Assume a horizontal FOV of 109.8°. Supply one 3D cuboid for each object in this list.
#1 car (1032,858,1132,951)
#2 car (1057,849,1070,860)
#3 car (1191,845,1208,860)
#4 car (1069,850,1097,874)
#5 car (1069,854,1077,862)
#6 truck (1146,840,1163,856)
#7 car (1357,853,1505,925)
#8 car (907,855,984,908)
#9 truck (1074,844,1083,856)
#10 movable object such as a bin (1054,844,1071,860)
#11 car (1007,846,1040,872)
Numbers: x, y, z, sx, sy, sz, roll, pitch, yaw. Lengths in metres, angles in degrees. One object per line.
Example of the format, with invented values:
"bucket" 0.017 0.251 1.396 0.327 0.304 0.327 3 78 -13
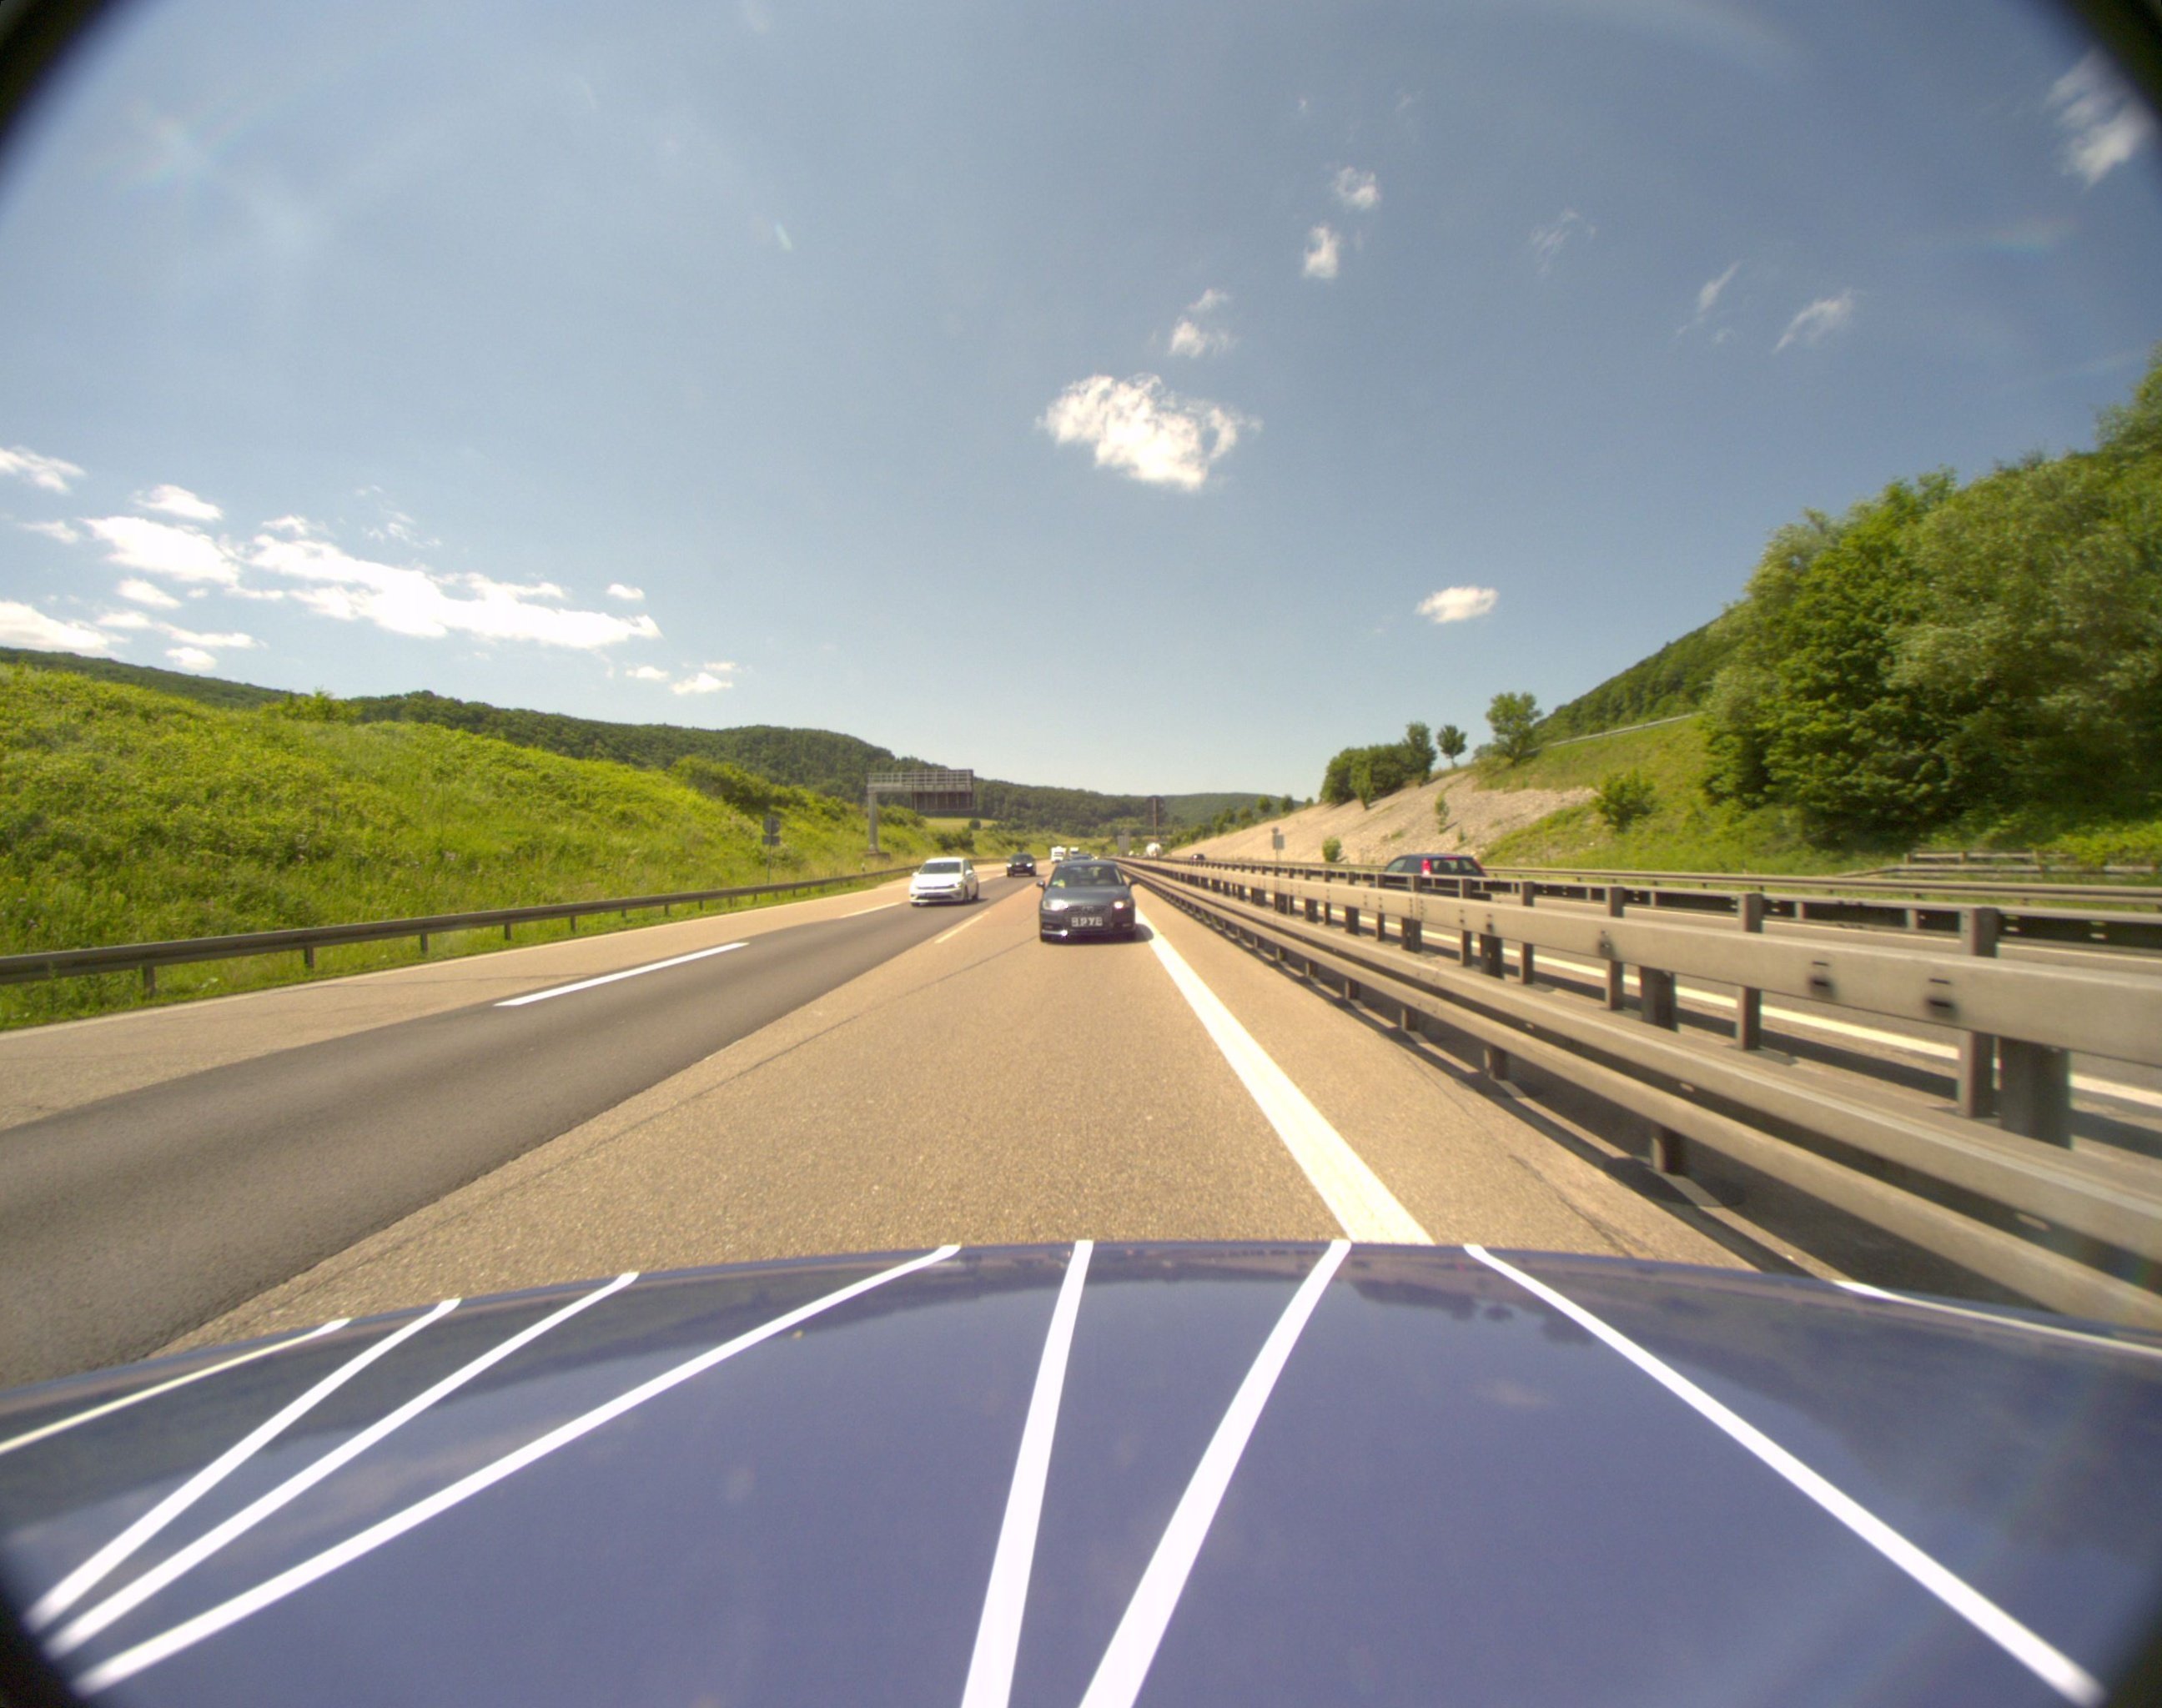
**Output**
"car" 0.031 0.848 14.540 1.591 1.402 3.999 -2 1 1
"car" -2.771 0.079 122.126 1.821 1.574 4.000 -1 0 1
"car" 16.477 -0.249 105.459 1.998 2.002 4.001 -1 1 4
"car" 0.184 0.526 53.221 1.835 1.587 4.000 -1 0 2
"car" -1.781 0.864 168.004 1.711 1.542 4.000 -1 1 1
"truck" 14.701 -1.180 152.288 2.617 3.035 10.990 -2 1 2
"car" 8.181 0.740 18.179 1.672 1.426 3.999 -2 1 0
"car" -4.504 0.855 25.813 1.777 1.532 4.054 -2 1 1
"truck" -0.798 -1.385 243.009 2.336 3.624 7.005 -2 1 1
"movable object such as a bin" -3.134 -0.406 129.492 2.481 2.617 6.708 -2 1 1
"car" -4.046 0.337 54.416 1.893 1.762 4.171 -1 0 2
